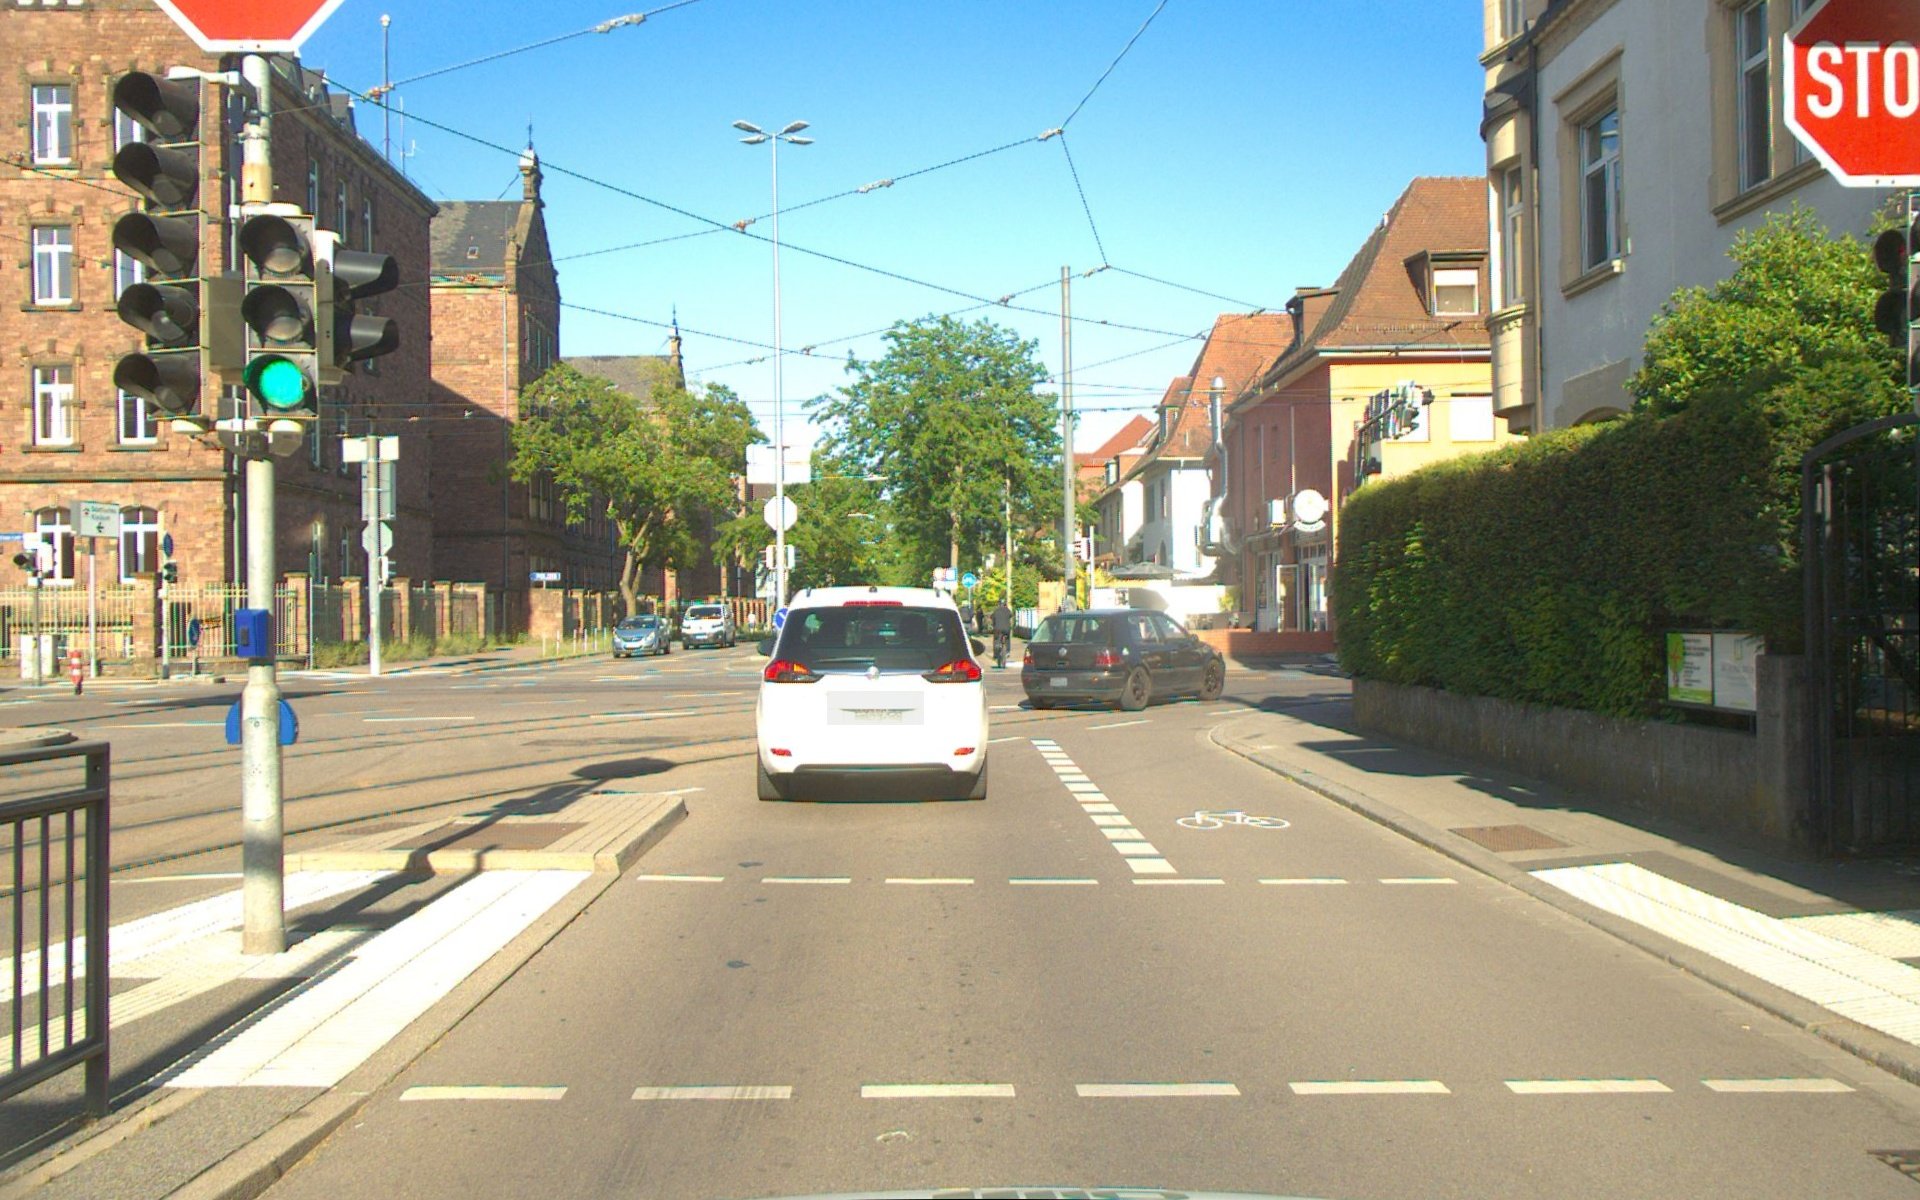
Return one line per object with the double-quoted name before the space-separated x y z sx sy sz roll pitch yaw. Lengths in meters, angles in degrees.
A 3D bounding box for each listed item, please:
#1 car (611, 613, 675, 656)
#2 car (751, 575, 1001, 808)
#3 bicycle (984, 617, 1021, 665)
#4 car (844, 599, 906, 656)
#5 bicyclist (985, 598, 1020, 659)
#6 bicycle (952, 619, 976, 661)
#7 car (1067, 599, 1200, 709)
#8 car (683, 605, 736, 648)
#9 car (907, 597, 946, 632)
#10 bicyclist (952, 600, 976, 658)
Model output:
"car" -11.451 1.231 59.913 1.548 1.466 3.584 0 -1 1
"car" -0.623 0.682 13.916 1.797 1.671 3.918 0 -1 -1
"bicycle" 1.059 1.023 41.663 0.812 1.175 2.094 0 -1 -2
"car" -2.561 0.841 50.514 1.740 1.660 3.879 0 -1 -1
"bicyclist" 1.061 0.712 41.531 0.804 1.528 0.934 0 -1 -2
"bicycle" 0.125 1.155 47.875 0.671 1.177 1.619 0 -1 1
"car" 2.437 0.741 23.993 1.554 1.445 3.900 -1 -1 1
"car" -10.904 1.162 72.253 1.854 1.815 3.879 0 -1 -2
"car" -1.629 0.737 81.310 1.739 1.660 3.881 0 -1 1
"bicyclist" 0.118 0.842 47.790 0.671 1.663 1.015 0 -1 1
